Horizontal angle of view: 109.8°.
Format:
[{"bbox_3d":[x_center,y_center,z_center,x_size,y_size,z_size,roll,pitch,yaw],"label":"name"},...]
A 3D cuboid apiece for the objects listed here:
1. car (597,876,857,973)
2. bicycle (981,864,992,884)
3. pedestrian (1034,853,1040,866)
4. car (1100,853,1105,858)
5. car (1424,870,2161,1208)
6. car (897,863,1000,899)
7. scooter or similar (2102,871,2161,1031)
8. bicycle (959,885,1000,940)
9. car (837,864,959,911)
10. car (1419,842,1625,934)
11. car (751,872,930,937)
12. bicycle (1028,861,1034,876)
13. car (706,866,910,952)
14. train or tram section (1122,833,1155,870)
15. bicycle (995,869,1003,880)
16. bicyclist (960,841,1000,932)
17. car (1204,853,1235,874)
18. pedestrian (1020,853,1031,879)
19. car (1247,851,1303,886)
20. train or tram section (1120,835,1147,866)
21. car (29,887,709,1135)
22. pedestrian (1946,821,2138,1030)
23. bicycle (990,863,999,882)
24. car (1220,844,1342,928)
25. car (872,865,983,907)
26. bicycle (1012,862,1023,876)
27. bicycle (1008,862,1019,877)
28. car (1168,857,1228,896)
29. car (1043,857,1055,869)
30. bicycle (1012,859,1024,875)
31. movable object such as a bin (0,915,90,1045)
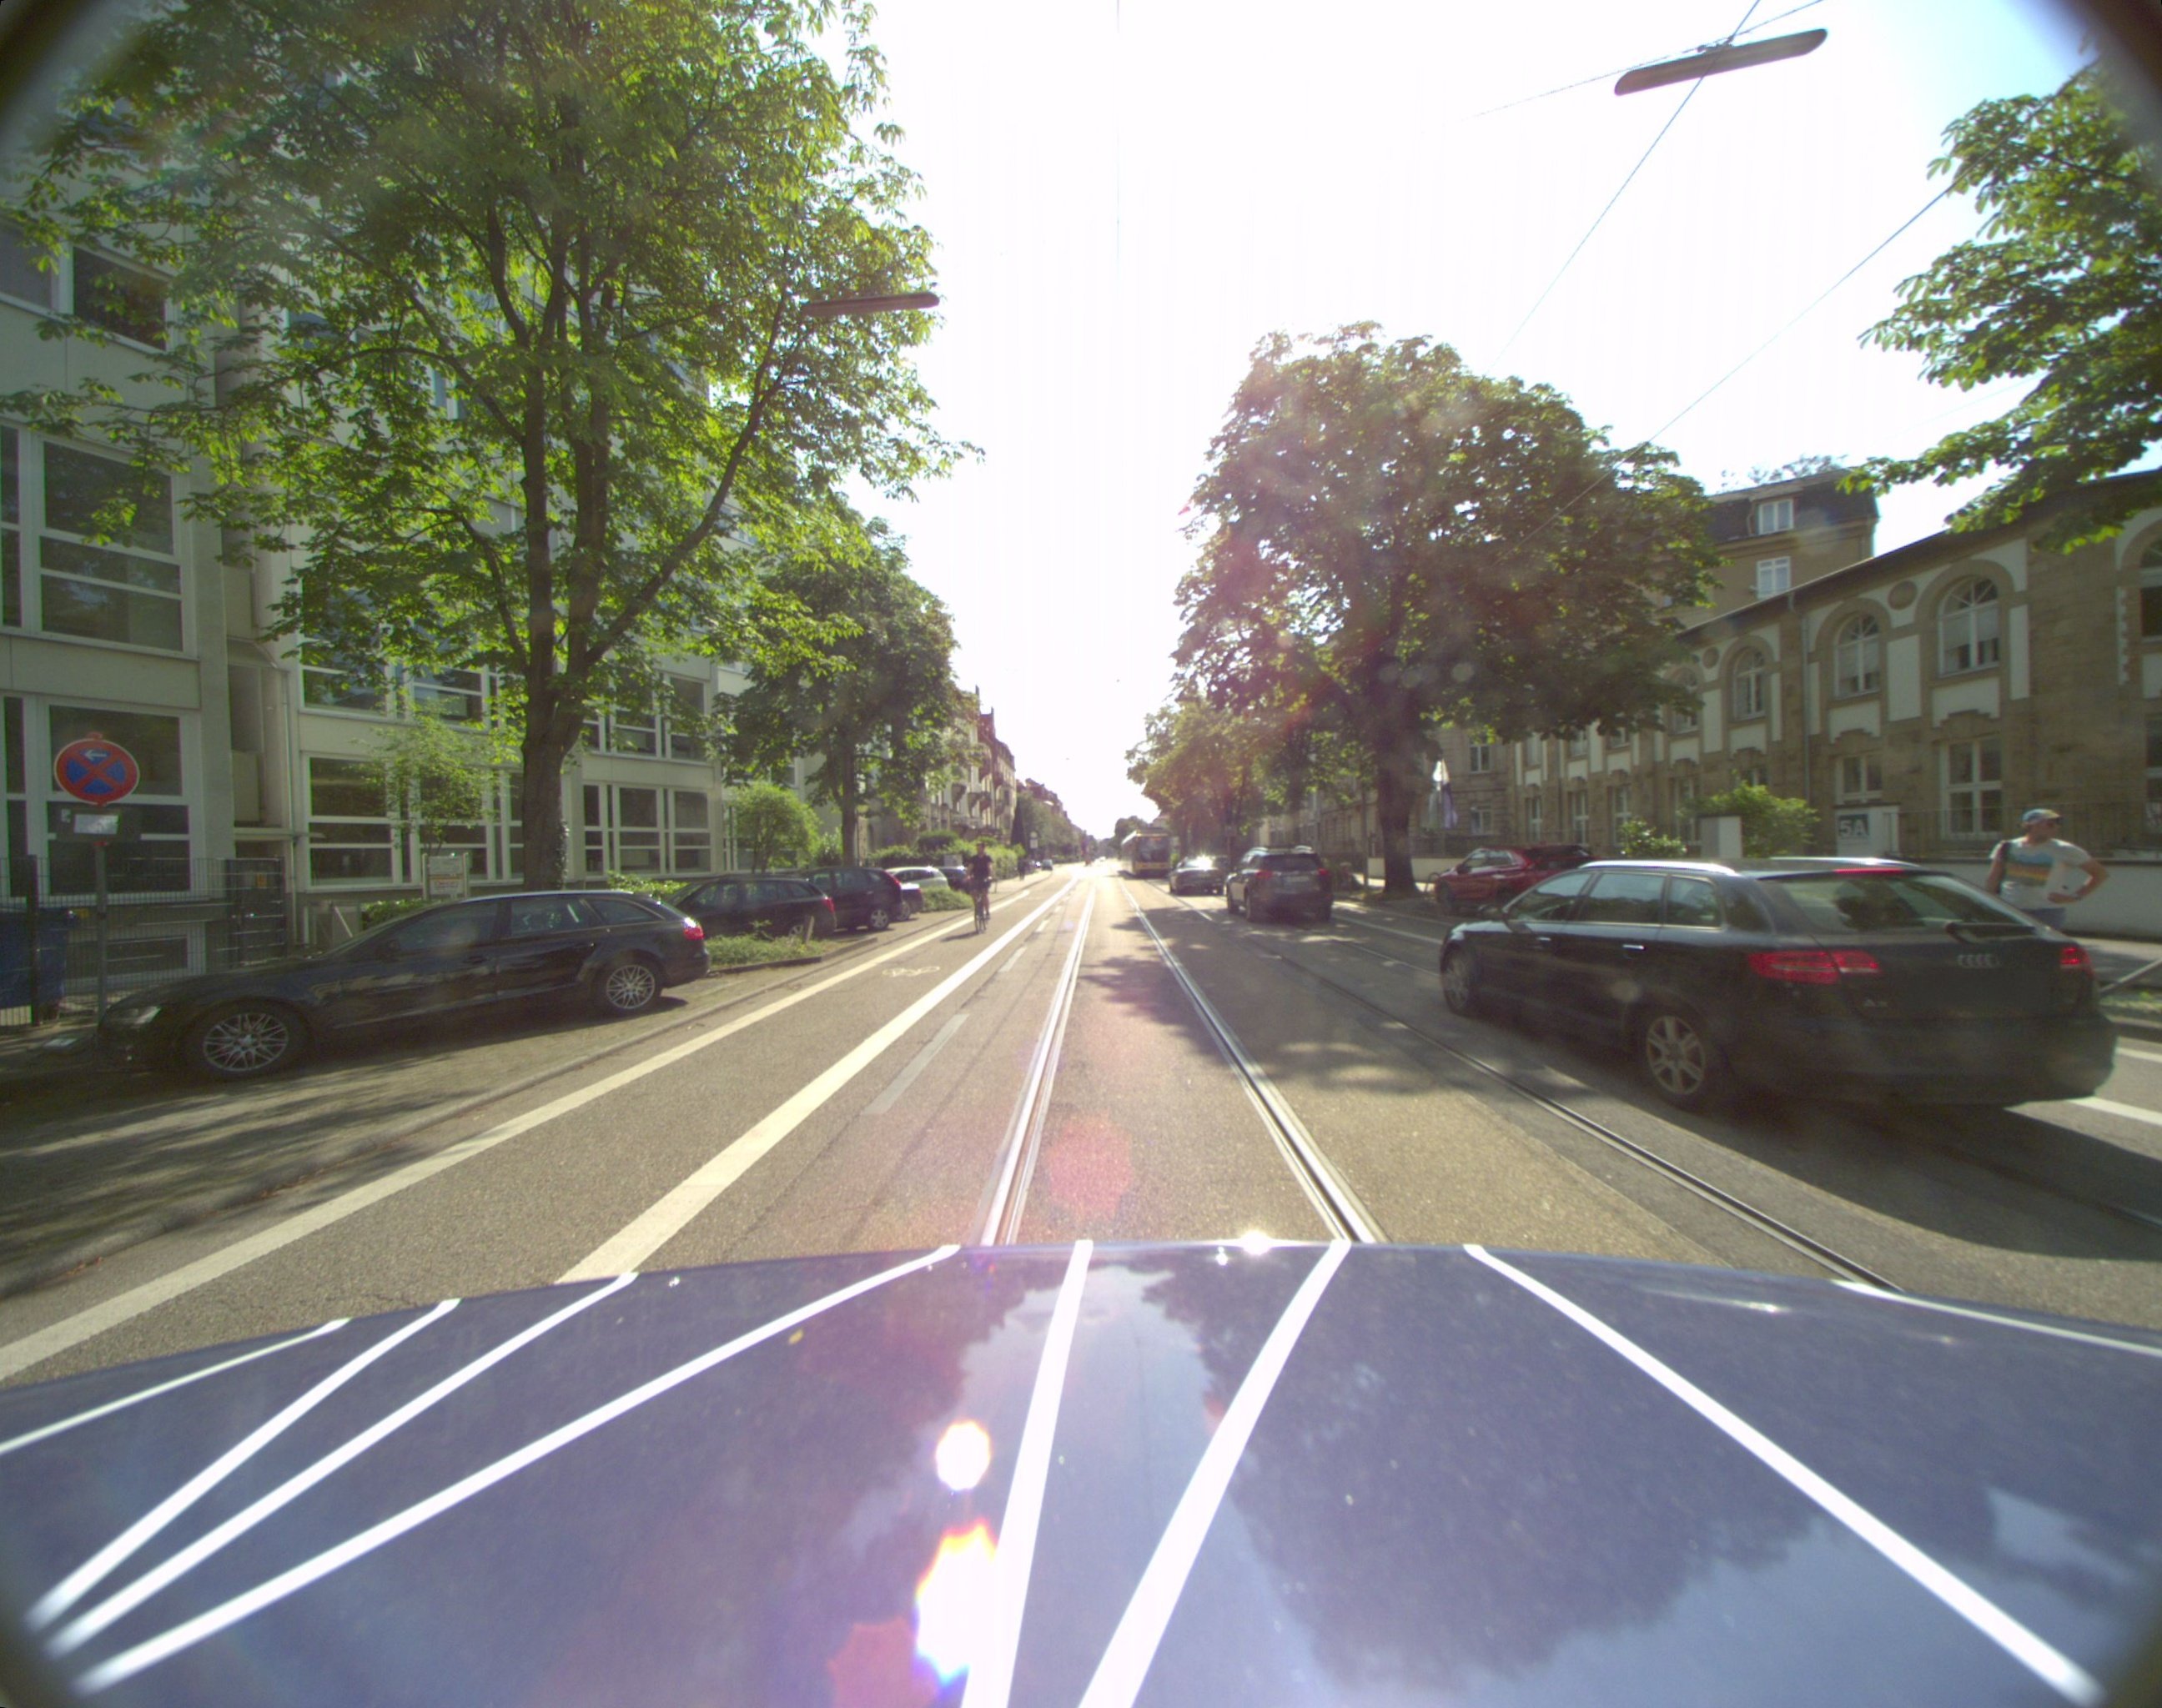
[{"bbox_3d":[-6.576,1.229,14.383,4.084,1.434,1.722,-1,-2,-43],"label":"car"},{"bbox_3d":[-5.449,1.148,43.713,0.280,1.102,2.011,2,1,1],"label":"bicycle"},{"bbox_3d":[-6.621,0.788,114.170,0.661,1.831,0.873,8,-1,-7],"label":"pedestrian"},{"bbox_3d":[7.290,0.483,258.058,1.860,1.455,4.000,-2,0,2],"label":"car"},{"bbox_3d":[4.165,0.859,5.339,1.727,1.368,4.000,0,0,1],"label":"car"},{"bbox_3d":[-5.867,1.155,33.962,4.168,1.415,1.861,-1,0,-41],"label":"car"},{"bbox_3d":[9.441,0.773,6.085,1.342,1.272,0.855,-3,1,0],"label":"scooter or similar"},{"bbox_3d":[-2.249,1.272,17.028,0.617,1.039,1.836,2,1,1],"label":"bicycle"},{"bbox_3d":[-6.543,1.162,27.413,4.008,1.452,1.531,-2,0,-44],"label":"car"},{"bbox_3d":[9.383,0.626,16.707,1.754,1.656,4.720,-3,0,1],"label":"car"},{"bbox_3d":[-6.467,1.306,20.694,4.183,1.341,1.900,-3,0,-43],"label":"car"},{"bbox_3d":[-4.565,1.314,69.329,0.452,1.253,1.844,1,0,-1],"label":"bicycle"},{"bbox_3d":[-6.300,1.195,17.750,4.007,1.565,1.900,-3,0,-40],"label":"car"},{"bbox_3d":[5.607,-0.308,76.192,2.659,3.336,14.108,0,1,2],"label":"train or tram section"},{"bbox_3d":[-5.320,1.312,49.144,0.280,0.673,1.559,2,1,1],"label":"bicycle"},{"bbox_3d":[-2.250,0.702,17.058,0.608,1.937,1.130,-3,1,1],"label":"bicyclist"},{"bbox_3d":[10.621,0.712,58.350,1.658,1.476,3.808,-3,1,1],"label":"car"},{"bbox_3d":[-3.994,0.878,54.741,0.790,1.851,0.580,1,1,-6],"label":"pedestrian"},{"bbox_3d":[10.130,0.694,39.932,1.811,1.631,4.331,-3,0,1],"label":"car"},{"bbox_3d":[6.025,-0.430,88.987,2.659,3.369,11.473,0,1,2],"label":"train or tram section"},{"bbox_3d":[-6.620,1.243,7.810,4.544,1.434,2.026,-4,1,-44],"label":"car"},{"bbox_3d":[8.738,0.612,6.938,0.790,1.756,0.752,-3,1,-8],"label":"pedestrian"},{"bbox_3d":[-5.370,1.118,47.231,0.280,1.102,2.011,2,1,1],"label":"bicycle"},{"bbox_3d":[4.584,0.693,18.086,1.830,1.717,4.392,-1,0,2],"label":"car"},{"bbox_3d":[-6.172,1.248,30.796,4.007,1.440,1.695,-2,0,-41],"label":"car"},{"bbox_3d":[-4.852,1.136,58.449,0.612,0.990,2.362,1,1,1],"label":"bicycle"},{"bbox_3d":[-4.988,1.133,56.052,0.614,0.983,1.872,1,1,1],"label":"bicycle"},{"bbox_3d":[4.612,0.847,30.494,1.803,1.380,4.426,-1,0,1],"label":"car"},{"bbox_3d":[-4.275,1.198,102.734,1.517,1.490,2.794,1,0,-1],"label":"car"},{"bbox_3d":[-5.108,1.065,61.925,0.742,1.224,2.516,-1,1,1],"label":"bicycle"},{"bbox_3d":[-12.113,1.395,8.103,1.278,1.311,1.325,-3,1,2],"label":"movable object such as a bin"}]
